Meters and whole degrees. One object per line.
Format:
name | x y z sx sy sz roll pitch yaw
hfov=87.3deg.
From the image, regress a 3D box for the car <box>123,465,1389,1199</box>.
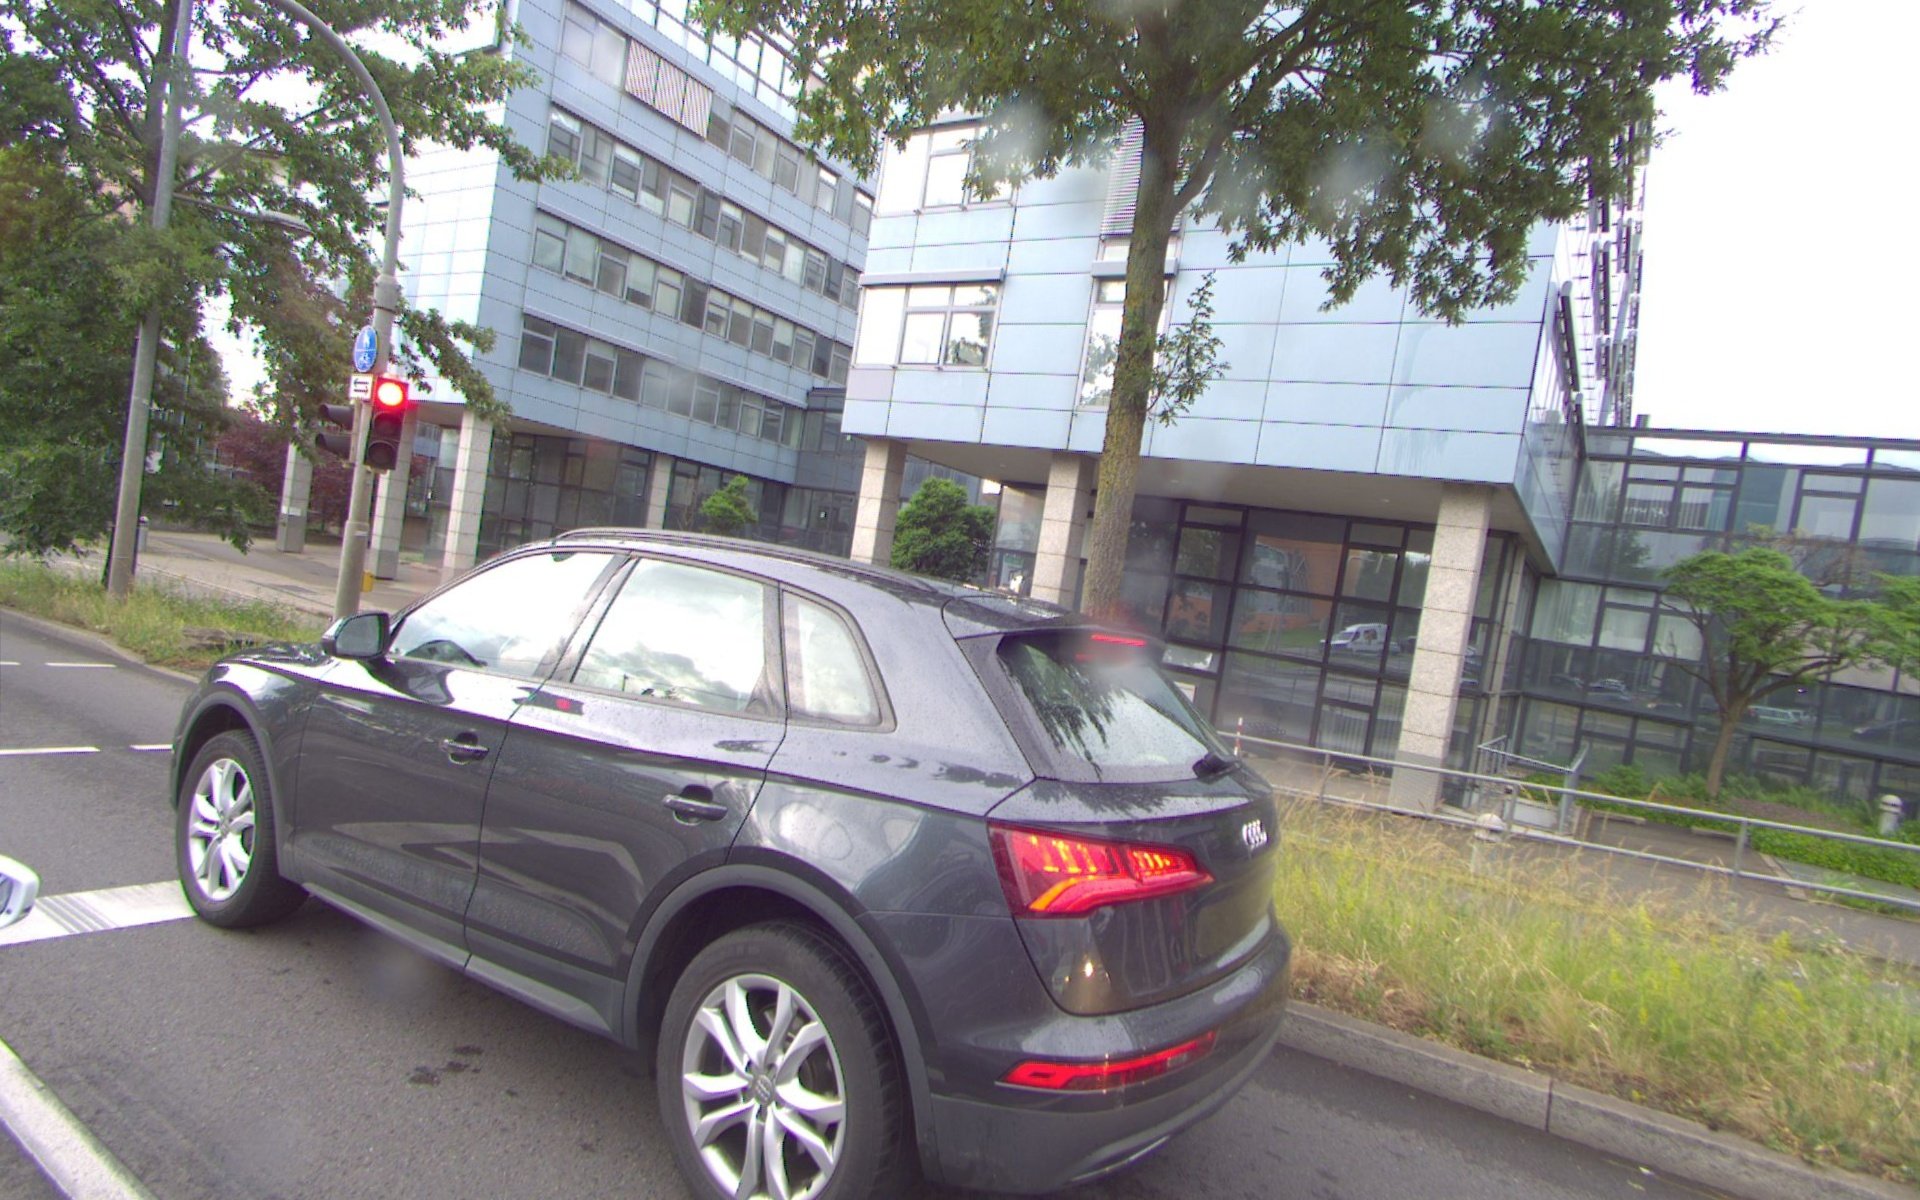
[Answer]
car | -0.991 0.567 3.724 4.396 1.632 1.821 7 -1 32
